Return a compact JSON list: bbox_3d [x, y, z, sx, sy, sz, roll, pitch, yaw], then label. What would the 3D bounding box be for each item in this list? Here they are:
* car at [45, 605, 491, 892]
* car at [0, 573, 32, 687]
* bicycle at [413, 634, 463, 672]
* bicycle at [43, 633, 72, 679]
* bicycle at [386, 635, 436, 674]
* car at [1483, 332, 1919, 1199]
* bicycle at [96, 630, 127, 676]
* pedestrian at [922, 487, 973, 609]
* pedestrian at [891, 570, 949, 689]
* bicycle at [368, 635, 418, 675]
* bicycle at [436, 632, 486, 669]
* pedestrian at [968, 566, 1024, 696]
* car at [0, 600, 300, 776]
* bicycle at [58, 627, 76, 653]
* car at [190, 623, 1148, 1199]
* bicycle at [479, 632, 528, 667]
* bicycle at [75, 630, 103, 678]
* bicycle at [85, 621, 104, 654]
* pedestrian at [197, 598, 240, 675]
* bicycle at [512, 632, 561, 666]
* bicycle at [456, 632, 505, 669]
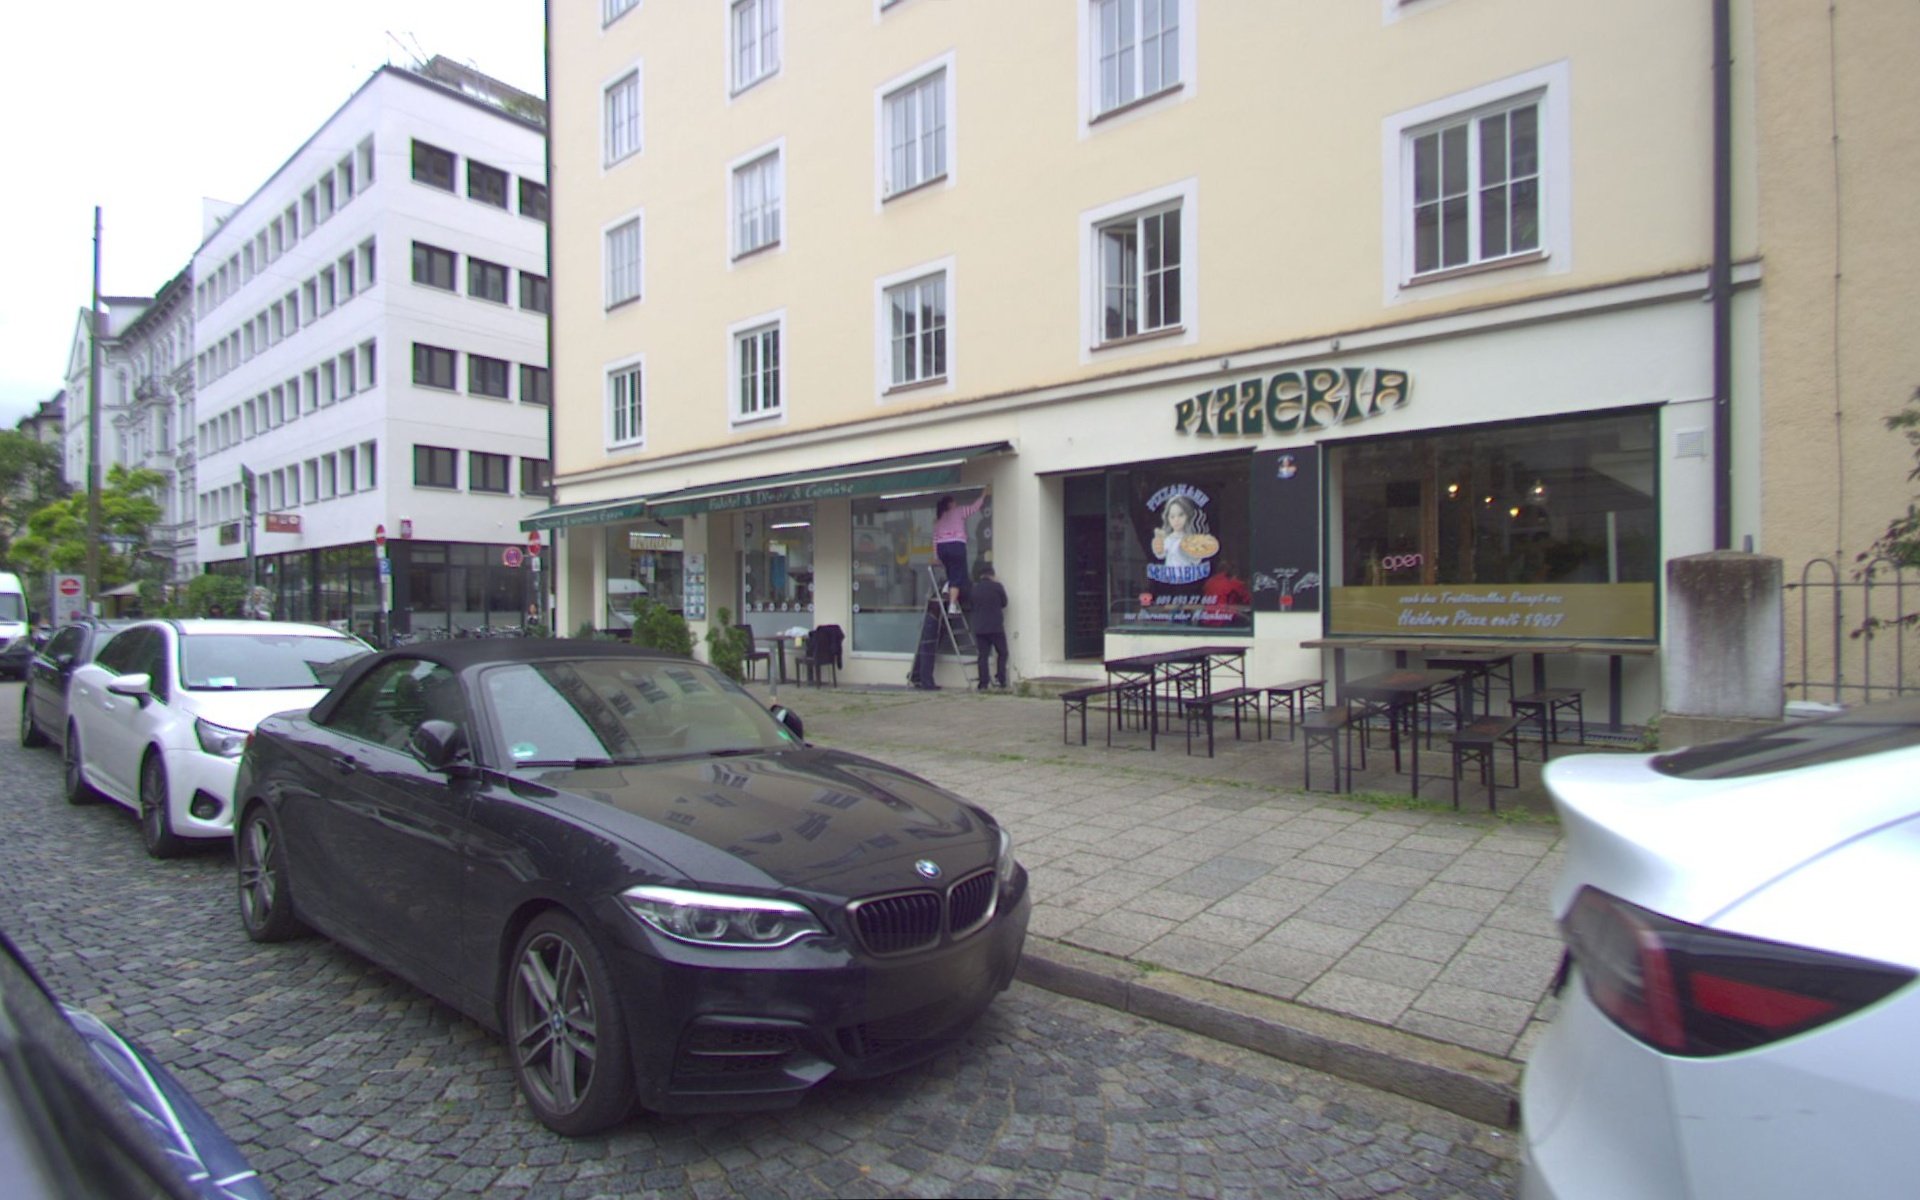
[{"bbox_3d":[-5.482,0.844,7.743,4.539,1.548,1.755,-1,0,41],"label":"car"},{"bbox_3d":[-24.200,0.690,24.604,5.795,2.593,1.955,-1,-2,44],"label":"car"},{"bbox_3d":[-14.303,1.435,27.691,1.890,0.975,0.394,-1,0,36],"label":"bicycle"},{"bbox_3d":[-22.423,1.371,25.149,1.814,1.099,0.283,-1,0,40],"label":"bicycle"},{"bbox_3d":[-14.682,1.440,27.057,1.890,0.975,0.394,-1,0,36],"label":"bicycle"},{"bbox_3d":[2.817,0.557,0.341,4.390,1.660,1.755,-1,0,42],"label":"car"},{"bbox_3d":[-21.495,1.335,25.628,1.814,1.099,0.283,-1,0,40],"label":"bicycle"},{"bbox_3d":[-0.177,-0.703,13.987,0.472,1.655,0.497,-1,0,-44],"label":"pedestrian"},{"bbox_3d":[-0.577,0.414,14.525,0.629,1.655,0.516,-1,0,41],"label":"pedestrian"},{"bbox_3d":[-14.947,1.432,26.671,1.890,0.975,0.394,-1,0,36],"label":"bicycle"},{"bbox_3d":[-13.938,1.409,28.243,1.890,0.975,0.394,-1,0,36],"label":"bicycle"},{"bbox_3d":[0.487,0.405,13.604,0.574,1.703,0.456,-1,0,42],"label":"pedestrian"},{"bbox_3d":[-9.436,0.839,11.607,4.744,1.598,1.833,-1,0,40],"label":"car"},{"bbox_3d":[-37.824,1.690,42.868,1.683,1.086,0.255,-2,-1,38],"label":"bicycle"},{"bbox_3d":[-1.572,0.814,4.334,4.387,1.370,1.756,-1,-3,39],"label":"car"},{"bbox_3d":[-13.222,1.426,29.303,1.890,0.975,0.394,-1,0,36],"label":"bicycle"},{"bbox_3d":[-21.743,1.342,25.254,1.806,1.135,0.252,-1,0,41],"label":"bicycle"},{"bbox_3d":[-32.458,1.402,37.942,1.911,1.183,0.356,-1,0,44],"label":"bicycle"},{"bbox_3d":[-18.333,0.884,25.024,0.812,1.854,0.608,-1,0,35],"label":"pedestrian"},{"bbox_3d":[-12.648,1.452,30.202,1.890,0.975,0.394,-1,0,36],"label":"bicycle"},{"bbox_3d":[-13.619,1.421,28.711,1.890,0.975,0.394,-1,0,36],"label":"bicycle"}]
